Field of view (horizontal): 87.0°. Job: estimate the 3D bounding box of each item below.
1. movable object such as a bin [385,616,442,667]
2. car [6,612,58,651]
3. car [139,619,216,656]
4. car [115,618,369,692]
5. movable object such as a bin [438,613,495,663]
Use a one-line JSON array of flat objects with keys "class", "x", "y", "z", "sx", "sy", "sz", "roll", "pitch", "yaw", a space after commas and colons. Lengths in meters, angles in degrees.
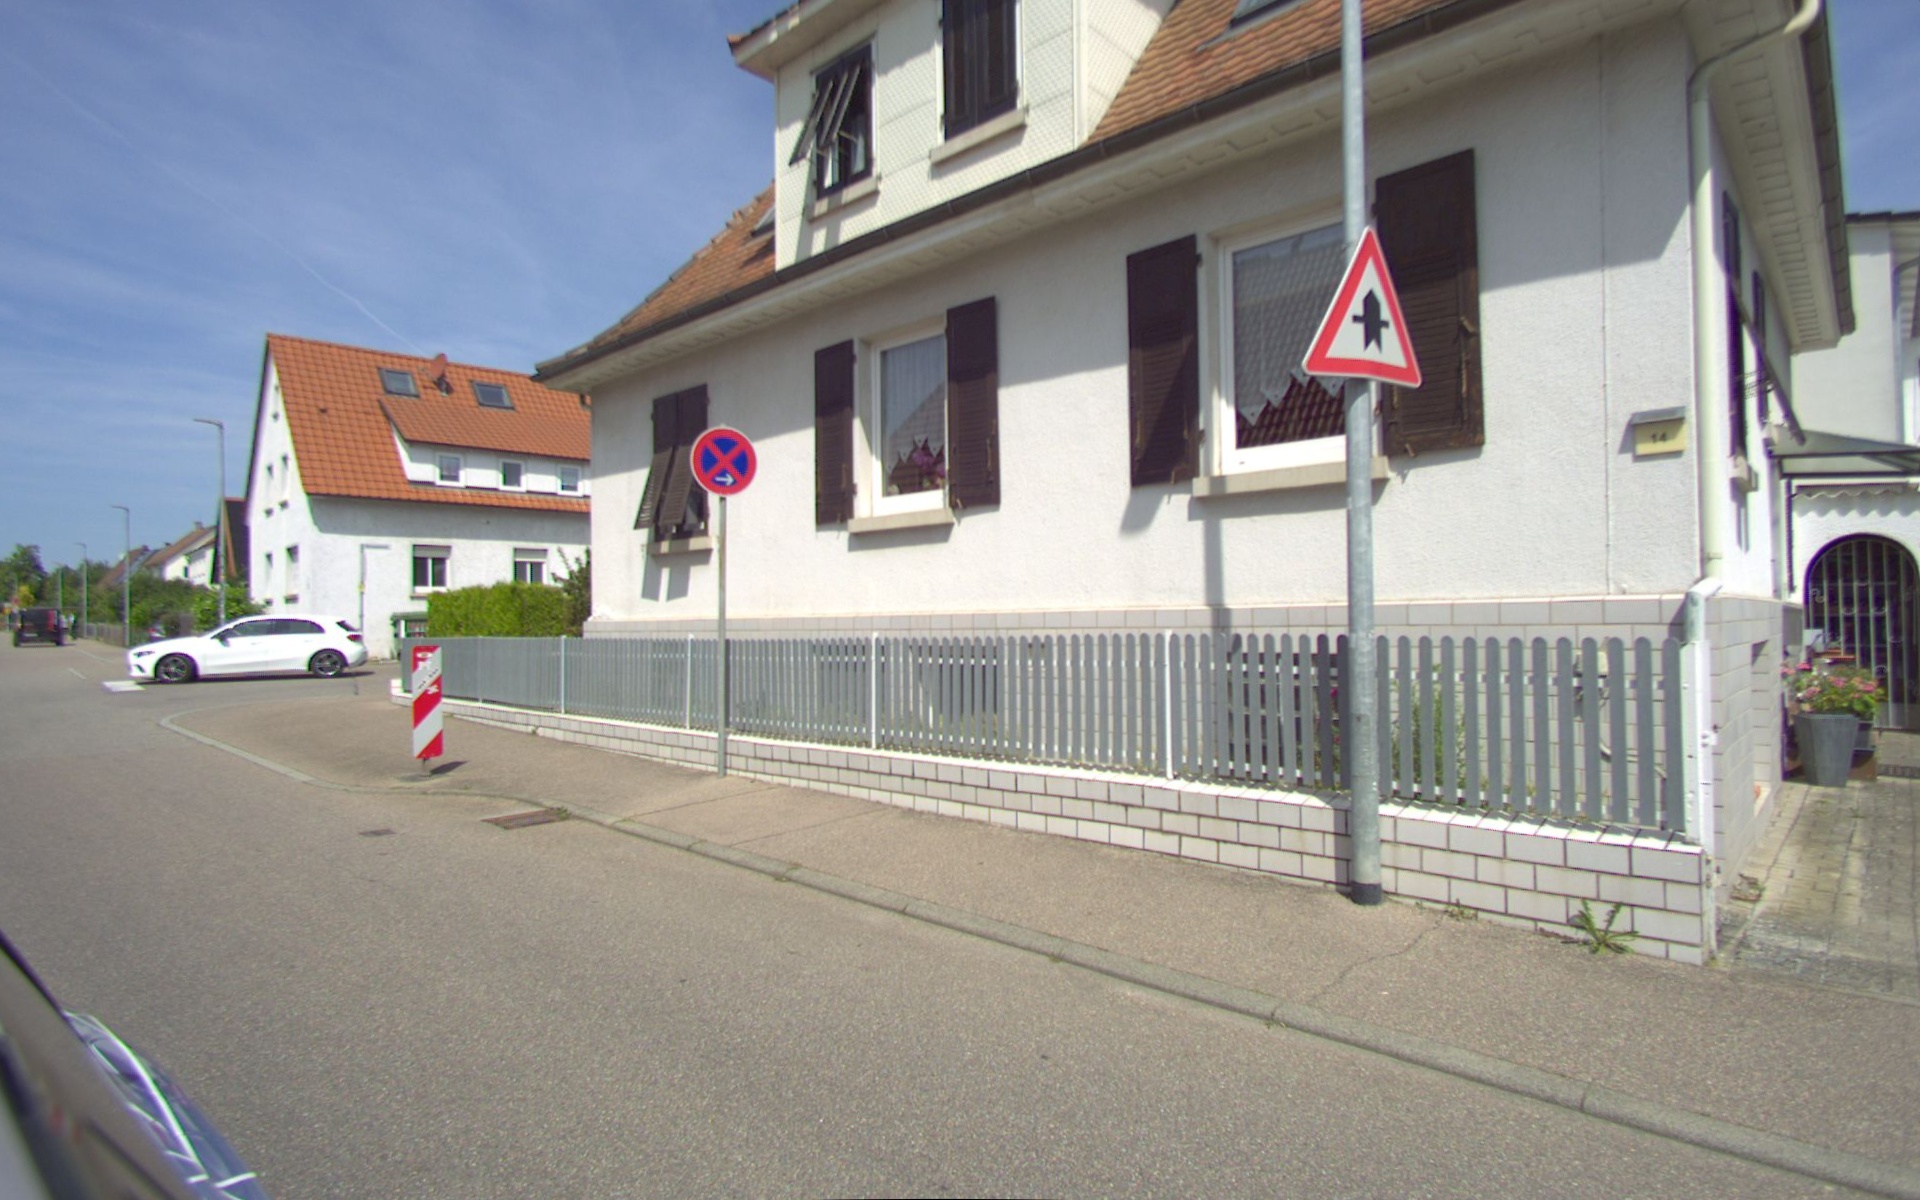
[{"class": "movable object such as a bin", "x": -15.105, "y": 1.121, "z": 27.976, "sx": 1.246, "sy": 1.323, "sz": 1.169, "roll": -1, "pitch": 0, "yaw": -35}, {"class": "car", "x": -49.131, "y": 1.642, "z": 53.557, "sx": 1.945, "sy": 1.966, "sz": 4.700, "roll": 0, "pitch": -1, "yaw": -44}, {"class": "car", "x": -33.350, "y": 1.575, "z": 43.247, "sx": 1.801, "sy": 1.443, "sz": 4.577, "roll": -1, "pitch": 0, "yaw": -28}, {"class": "car", "x": -15.715, "y": 1.155, "z": 22.492, "sx": 4.417, "sy": 1.408, "sz": 1.935, "roll": -1, "pitch": -1, "yaw": -29}, {"class": "movable object such as a bin", "x": -14.068, "y": 1.052, "z": 28.832, "sx": 1.246, "sy": 1.346, "sz": 1.316, "roll": -1, "pitch": 0, "yaw": -35}]
